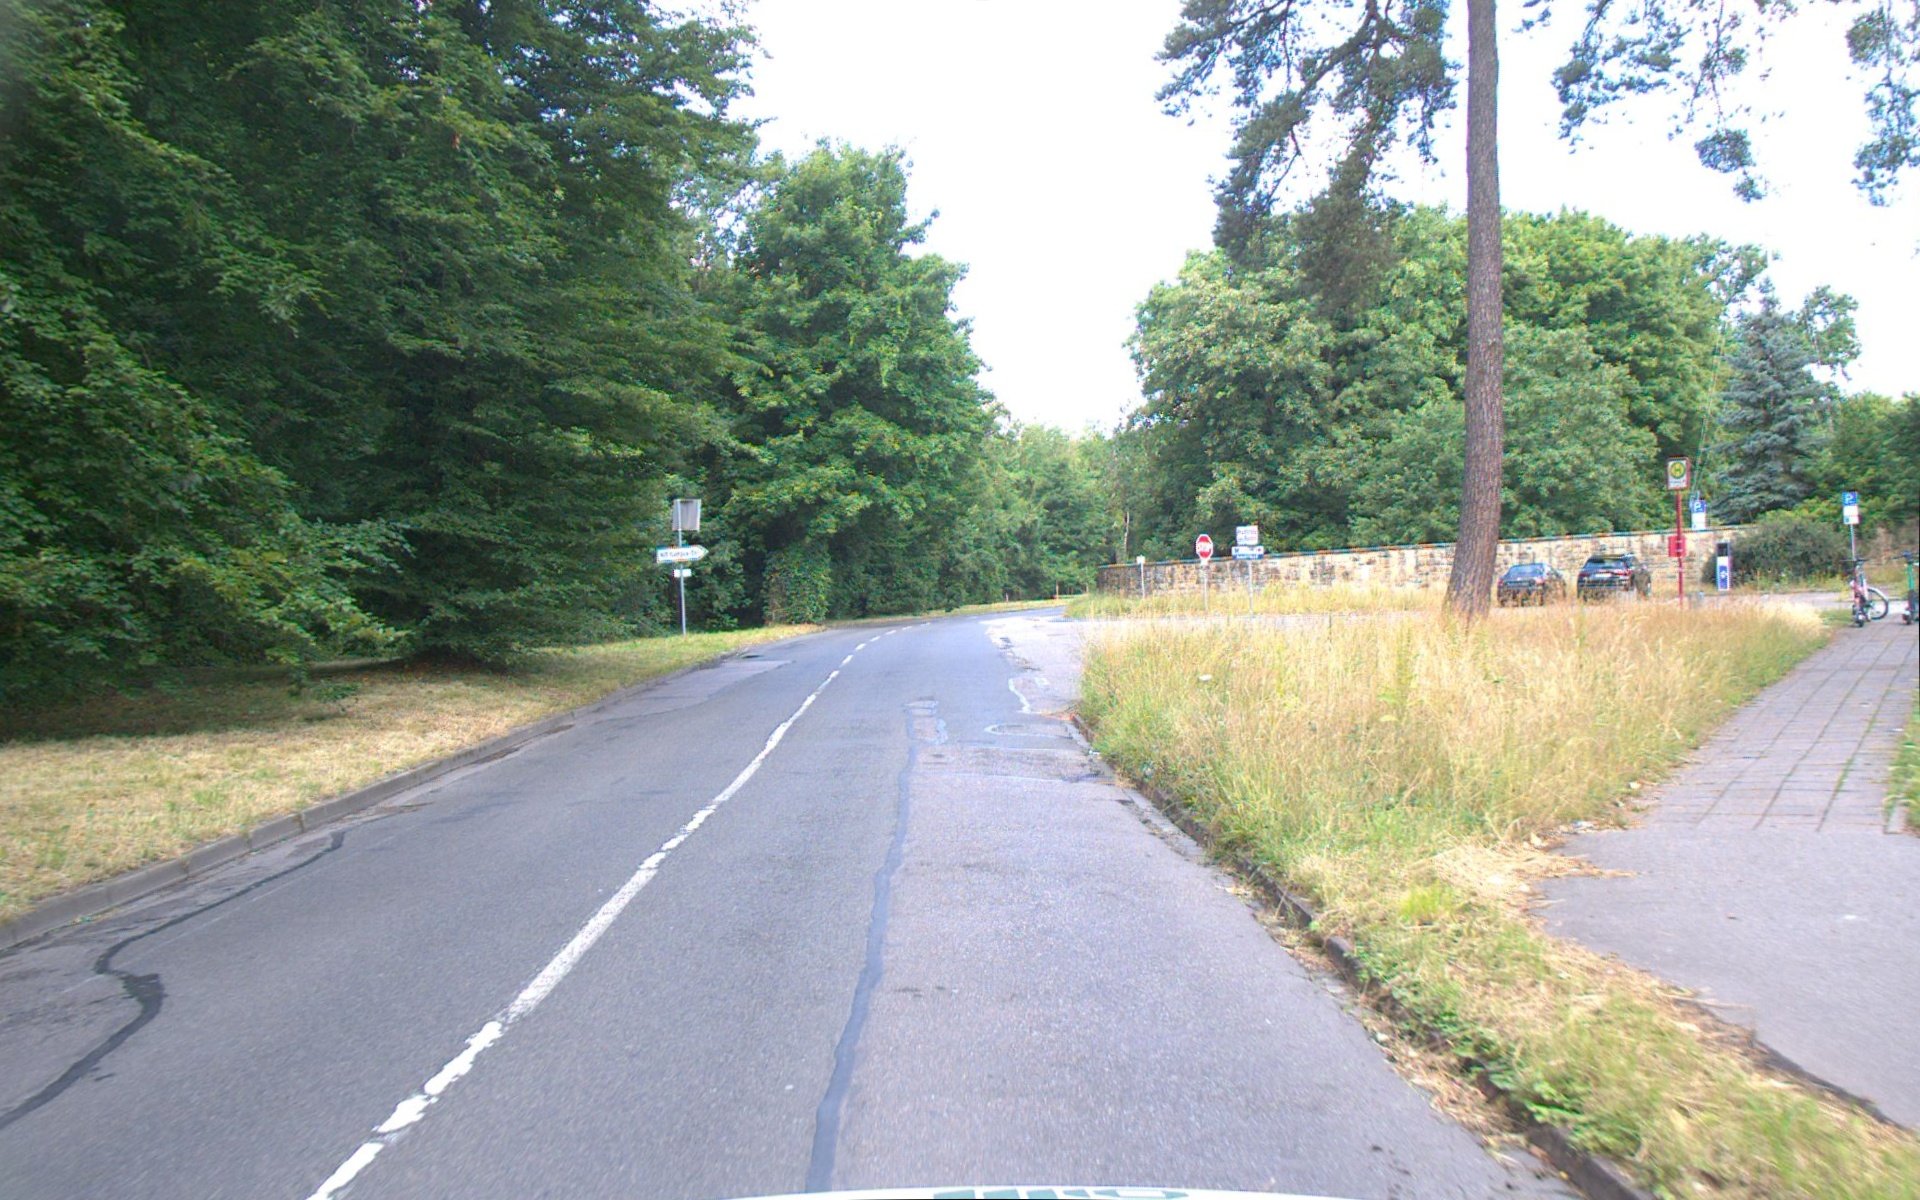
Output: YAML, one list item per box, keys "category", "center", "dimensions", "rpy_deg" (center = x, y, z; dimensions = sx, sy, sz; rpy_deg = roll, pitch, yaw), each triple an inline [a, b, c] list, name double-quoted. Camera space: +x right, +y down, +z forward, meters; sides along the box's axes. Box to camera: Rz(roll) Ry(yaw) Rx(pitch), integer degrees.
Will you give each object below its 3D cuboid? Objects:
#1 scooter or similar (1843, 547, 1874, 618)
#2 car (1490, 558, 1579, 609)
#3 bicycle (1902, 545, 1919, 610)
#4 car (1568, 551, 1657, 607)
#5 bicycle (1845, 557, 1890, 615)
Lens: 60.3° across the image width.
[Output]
- category: "scooter or similar"
  center: [16.200, -0.311, 29.823]
  dimensions: [0.428, 1.249, 1.089]
  rpy_deg: [-1, -1, 27]
- category: "car"
  center: [19.649, -0.589, 56.521]
  dimensions: [1.841, 1.466, 3.988]
  rpy_deg: [-3, 2, 34]
- category: "bicycle"
  center: [19.157, -0.460, 32.869]
  dimensions: [0.621, 1.262, 2.172]
  rpy_deg: [-3, -1, 27]
- category: "car"
  center: [21.534, -0.708, 54.515]
  dimensions: [1.861, 1.573, 3.989]
  rpy_deg: [-3, 2, 34]
- category: "bicycle"
  center: [17.676, -0.277, 32.207]
  dimensions: [0.724, 1.103, 1.680]
  rpy_deg: [-1, 1, 30]
